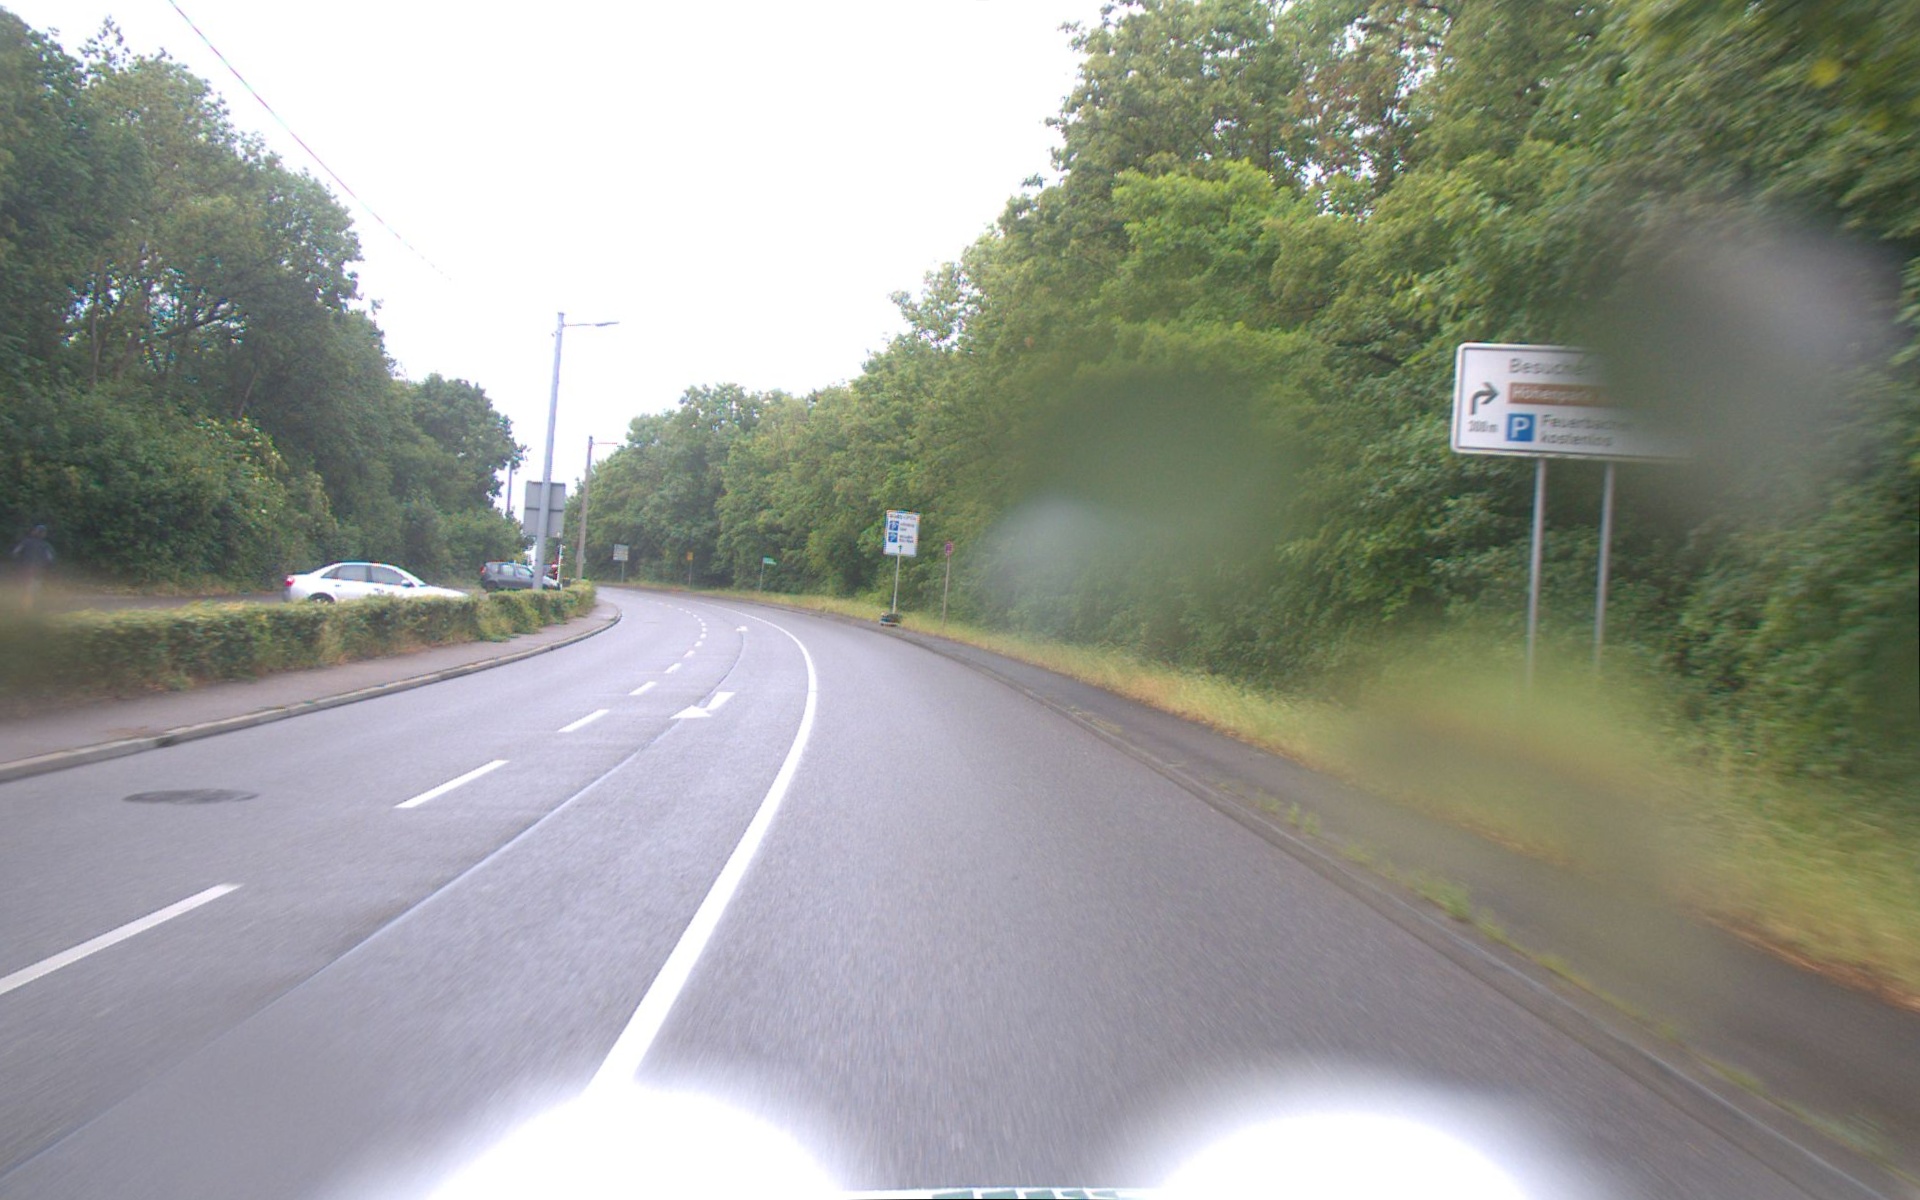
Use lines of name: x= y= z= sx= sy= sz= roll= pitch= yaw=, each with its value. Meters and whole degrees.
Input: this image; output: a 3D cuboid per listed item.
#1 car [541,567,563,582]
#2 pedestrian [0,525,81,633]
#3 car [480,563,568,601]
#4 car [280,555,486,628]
car: x=-43.812 y=-2.722 z=177.524 sx=1.905 sy=1.524 sz=4.296 roll=2 pitch=0 yaw=-18
pedestrian: x=-16.153 y=-0.368 z=29.007 sx=0.800 sy=1.829 sz=1.135 roll=2 pitch=0 yaw=-2
car: x=-22.652 y=-0.957 z=86.039 sx=4.213 sy=1.738 sz=1.995 roll=3 pitch=0 yaw=-11
car: x=-14.072 y=-0.204 z=40.597 sx=4.497 sy=1.532 sz=1.993 roll=3 pitch=0 yaw=-14
